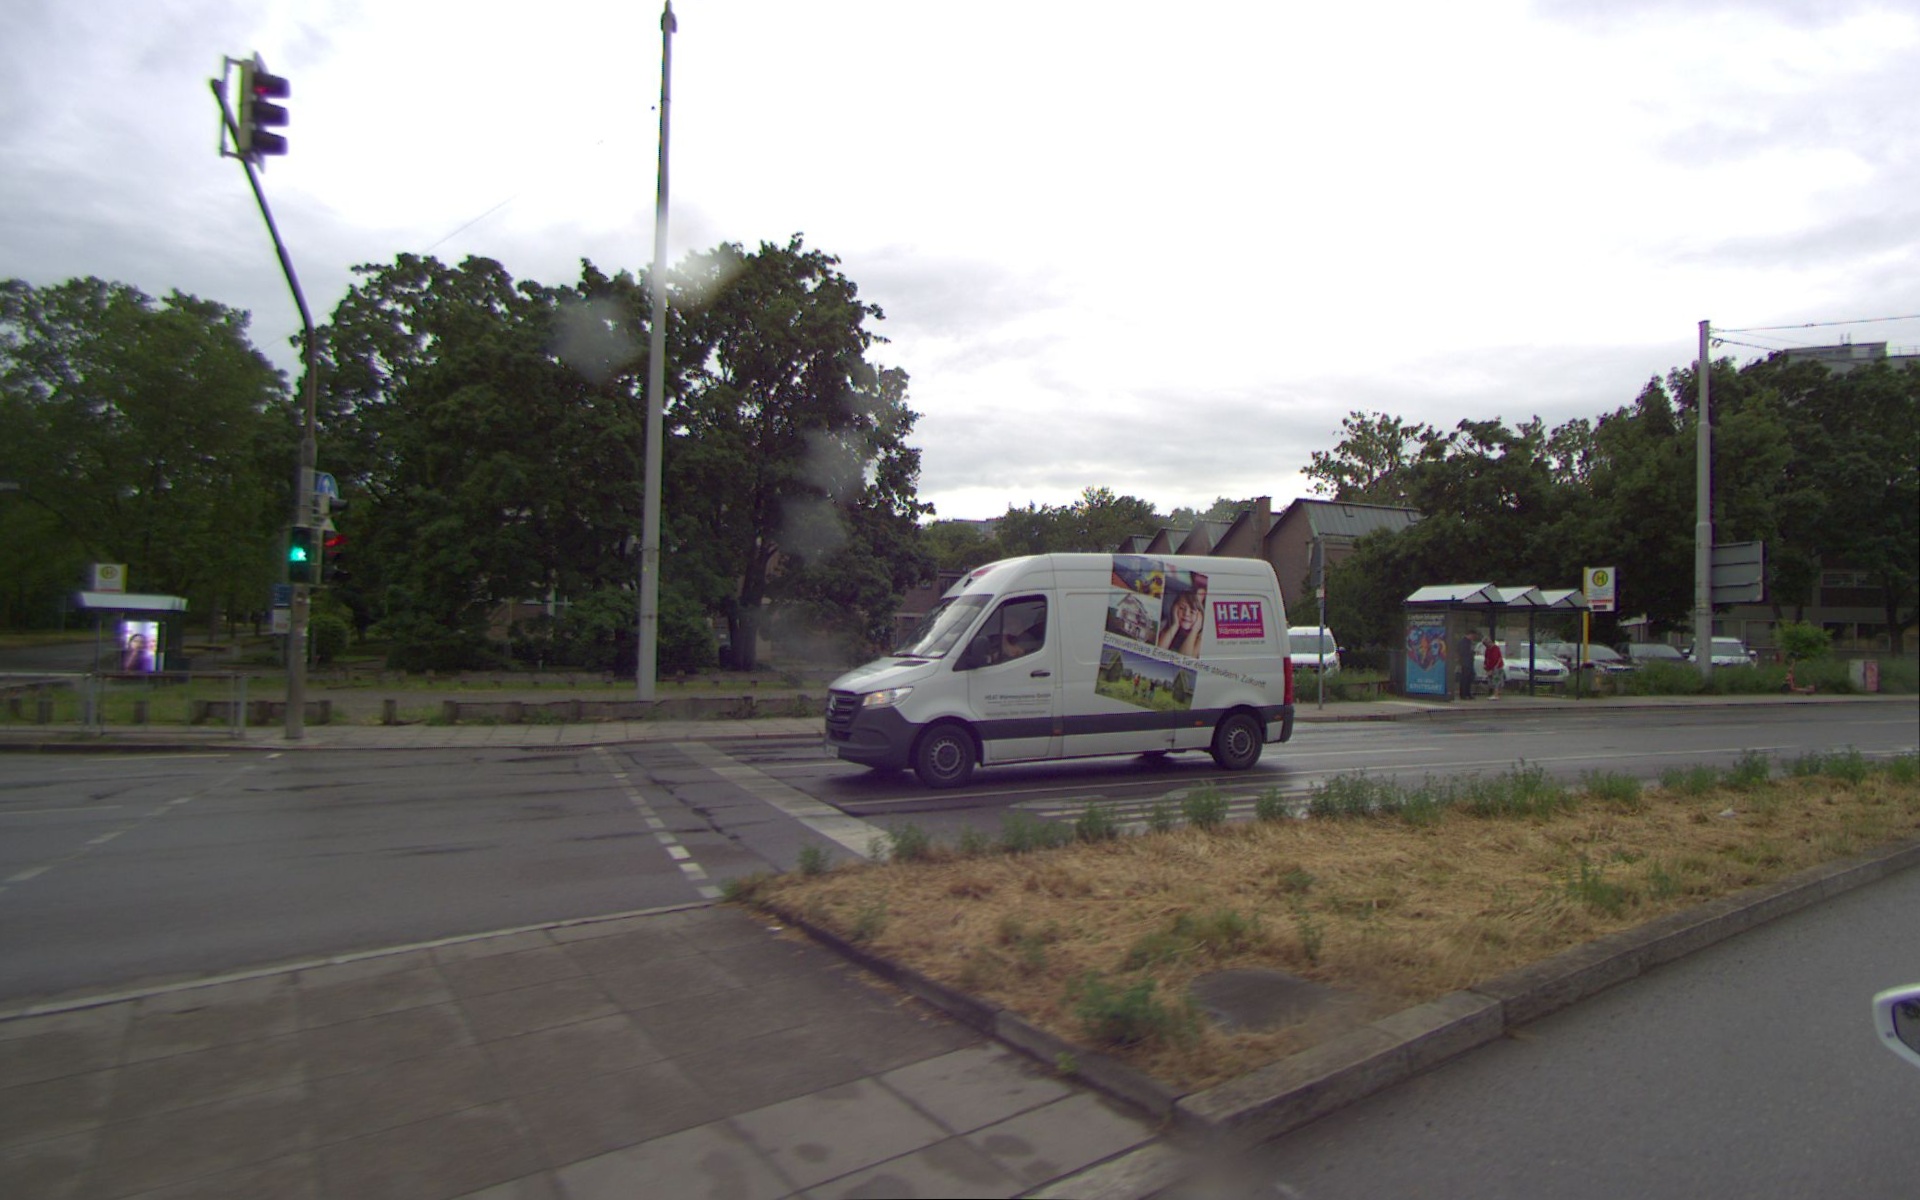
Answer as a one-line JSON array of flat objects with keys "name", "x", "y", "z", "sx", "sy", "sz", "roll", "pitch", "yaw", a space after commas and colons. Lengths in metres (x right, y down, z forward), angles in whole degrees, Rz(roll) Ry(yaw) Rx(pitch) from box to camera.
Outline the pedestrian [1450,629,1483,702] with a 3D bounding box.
[{"name": "pedestrian", "x": 12.566, "y": 1.609, "z": 24.932, "sx": 0.659, "sy": 1.768, "sz": 0.454, "roll": 1, "pitch": 0, "yaw": -32}]

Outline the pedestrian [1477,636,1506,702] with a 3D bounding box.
[{"name": "pedestrian", "x": 13.381, "y": 1.712, "z": 25.272, "sx": 0.602, "sy": 1.616, "sz": 0.508, "roll": 0, "pitch": 0, "yaw": 32}]

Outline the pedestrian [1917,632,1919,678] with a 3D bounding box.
[{"name": "pedestrian", "x": 34.021, "y": 1.912, "z": 34.829, "sx": 0.940, "sy": 1.592, "sz": 0.805, "roll": 1, "pitch": 0, "yaw": -11}]

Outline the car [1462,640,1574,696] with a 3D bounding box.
[{"name": "car", "x": 16.521, "y": 1.960, "z": 29.953, "sx": 1.797, "sy": 1.434, "sz": 4.002, "roll": 0, "pitch": -1, "yaw": 12}]

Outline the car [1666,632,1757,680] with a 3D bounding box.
[{"name": "car", "x": 24.927, "y": 1.800, "z": 33.439, "sx": 1.820, "sy": 1.461, "sz": 4.069, "roll": 0, "pitch": -1, "yaw": 28}]

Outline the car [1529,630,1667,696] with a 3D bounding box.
[{"name": "car", "x": 19.117, "y": 1.833, "z": 30.316, "sx": 1.797, "sy": 1.791, "sz": 4.001, "roll": 1, "pitch": -1, "yaw": 3}]

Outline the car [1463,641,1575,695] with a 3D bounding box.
[{"name": "car", "x": 16.584, "y": 1.983, "z": 30.021, "sx": 1.816, "sy": 1.461, "sz": 4.079, "roll": 1, "pitch": -3, "yaw": 13}]

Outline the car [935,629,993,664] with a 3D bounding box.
[{"name": "car", "x": 0.219, "y": 3.085, "z": 67.637, "sx": 2.254, "sy": 2.207, "sz": 5.055, "roll": 1, "pitch": -1, "yaw": -20}]

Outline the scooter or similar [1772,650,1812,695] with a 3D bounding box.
[{"name": "scooter or similar", "x": 24.436, "y": 2.135, "z": 29.508, "sx": 0.961, "sy": 1.283, "sz": 0.457, "roll": 1, "pitch": 0, "yaw": -17}]

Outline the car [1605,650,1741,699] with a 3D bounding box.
[{"name": "car", "x": 21.884, "y": 2.259, "z": 30.994, "sx": 1.797, "sy": 1.236, "sz": 3.501, "roll": 1, "pitch": 0, "yaw": 3}]

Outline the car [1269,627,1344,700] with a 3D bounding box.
[{"name": "car", "x": 9.577, "y": 1.705, "z": 27.661, "sx": 1.798, "sy": 1.791, "sz": 4.507, "roll": 0, "pitch": -2, "yaw": 20}]

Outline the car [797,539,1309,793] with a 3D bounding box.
[{"name": "car", "x": 1.195, "y": 0.775, "z": 12.202, "sx": 5.954, "sy": 2.526, "sz": 2.054, "roll": 1, "pitch": -3, "yaw": -24}]

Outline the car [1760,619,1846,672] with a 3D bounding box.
[{"name": "car", "x": 29.627, "y": 1.623, "z": 35.270, "sx": 4.047, "sy": 1.765, "sz": 1.831, "roll": 4, "pitch": -3, "yaw": -43}]
